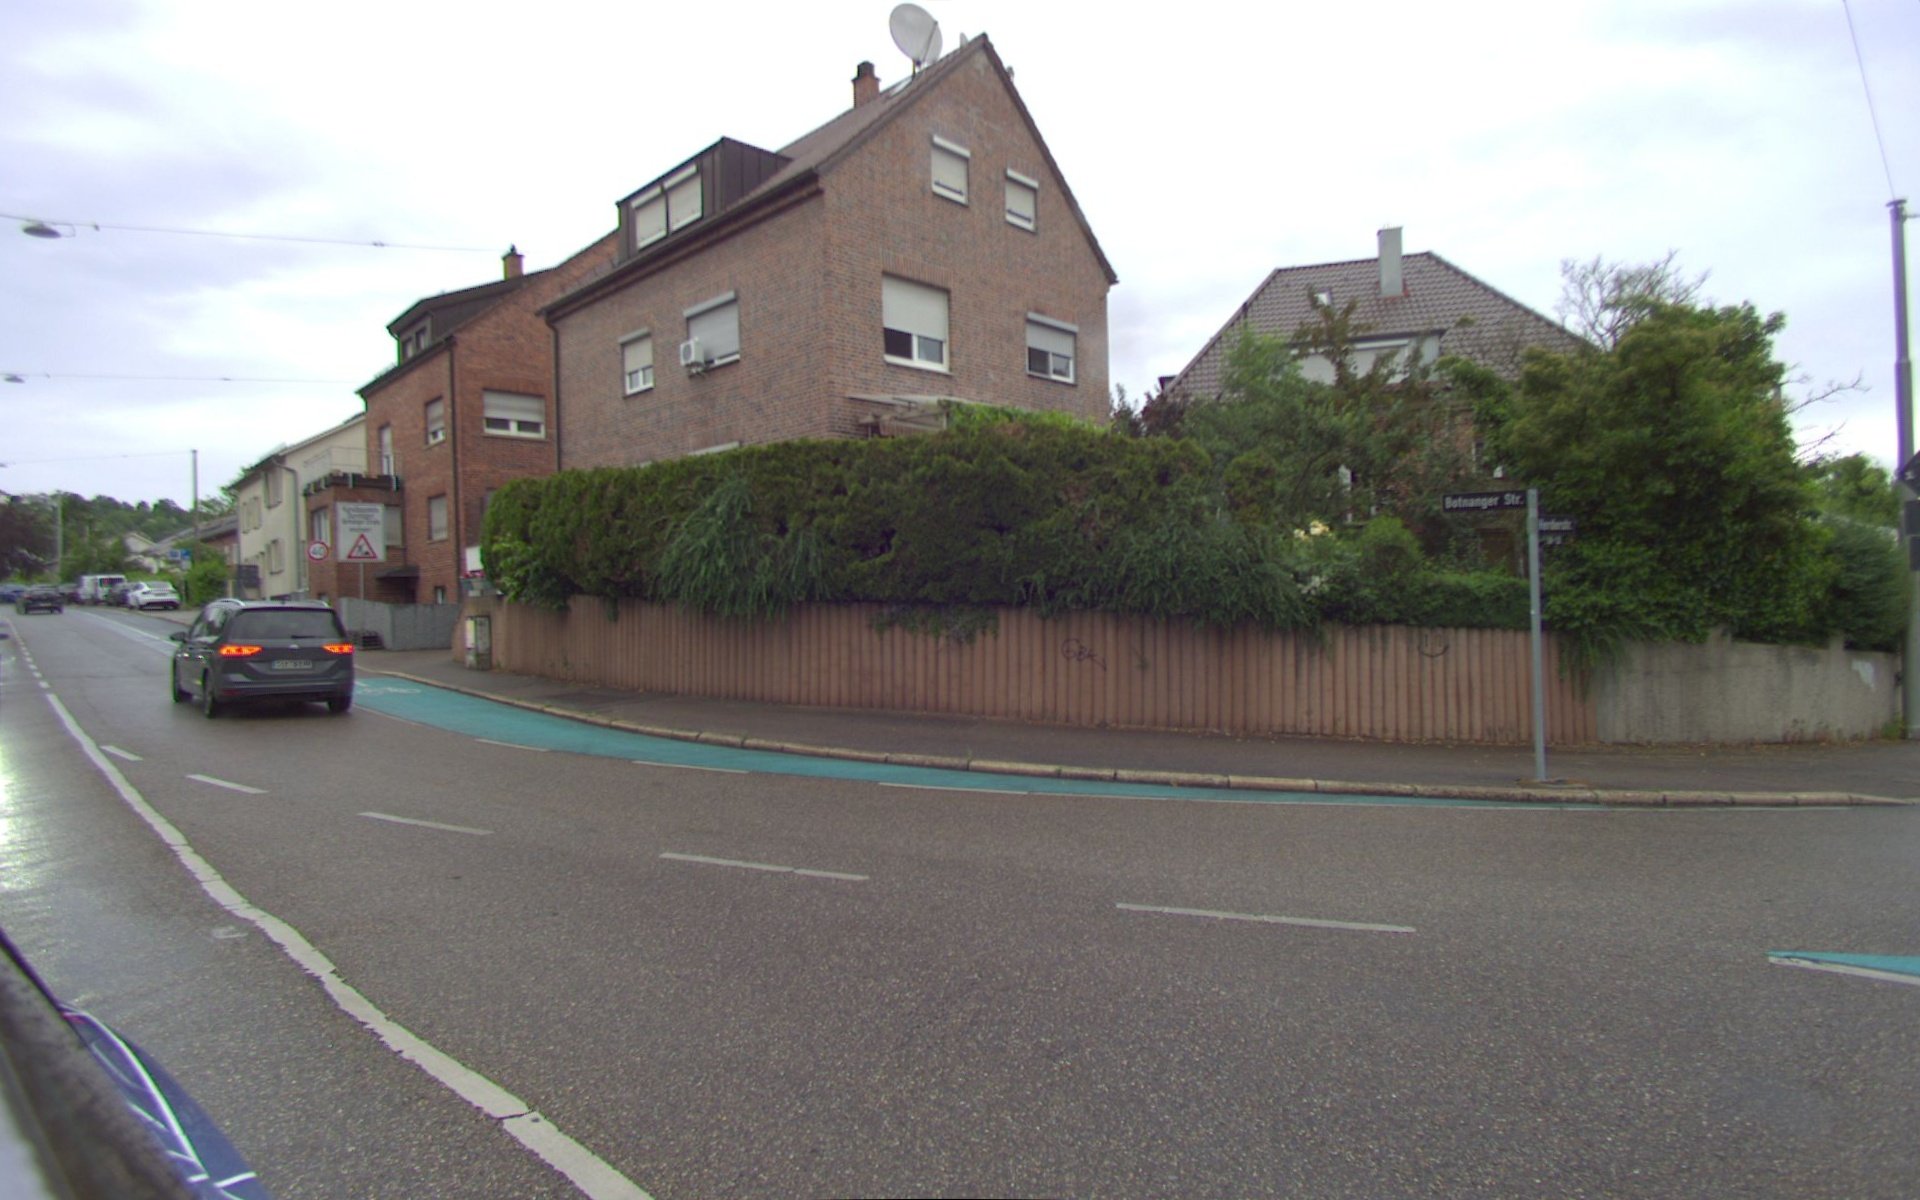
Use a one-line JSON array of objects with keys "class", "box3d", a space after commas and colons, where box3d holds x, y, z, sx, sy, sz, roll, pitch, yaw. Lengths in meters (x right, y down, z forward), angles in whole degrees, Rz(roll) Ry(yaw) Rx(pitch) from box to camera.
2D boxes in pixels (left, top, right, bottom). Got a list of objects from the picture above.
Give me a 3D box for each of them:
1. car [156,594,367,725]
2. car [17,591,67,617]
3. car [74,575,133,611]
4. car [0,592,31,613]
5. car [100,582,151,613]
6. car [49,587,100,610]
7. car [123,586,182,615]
[{"class": "car", "box3d": [-10.707, 0.802, 15.397, 4.174, 1.693, 1.828, 1, -1, 44]}, {"class": "car", "box3d": [-53.229, 0.204, 58.678, 3.718, 1.457, 1.894, 0, 0, 43]}, {"class": "car", "box3d": [-57.166, -0.467, 67.540, 4.544, 2.303, 2.229, 0, 2, 40]}, {"class": "car", "box3d": [-71.490, 0.180, 76.139, 3.895, 1.501, 1.605, -1, 2, 36]}, {"class": "car", "box3d": [-52.463, -0.147, 63.586, 4.262, 1.817, 1.791, 0, 2, 42]}, {"class": "car", "box3d": [-61.676, -0.092, 70.474, 4.001, 1.501, 1.636, -1, 2, 34]}, {"class": "car", "box3d": [-46.475, 0.032, 58.202, 4.262, 1.577, 1.921, 0, 2, 41]}]
